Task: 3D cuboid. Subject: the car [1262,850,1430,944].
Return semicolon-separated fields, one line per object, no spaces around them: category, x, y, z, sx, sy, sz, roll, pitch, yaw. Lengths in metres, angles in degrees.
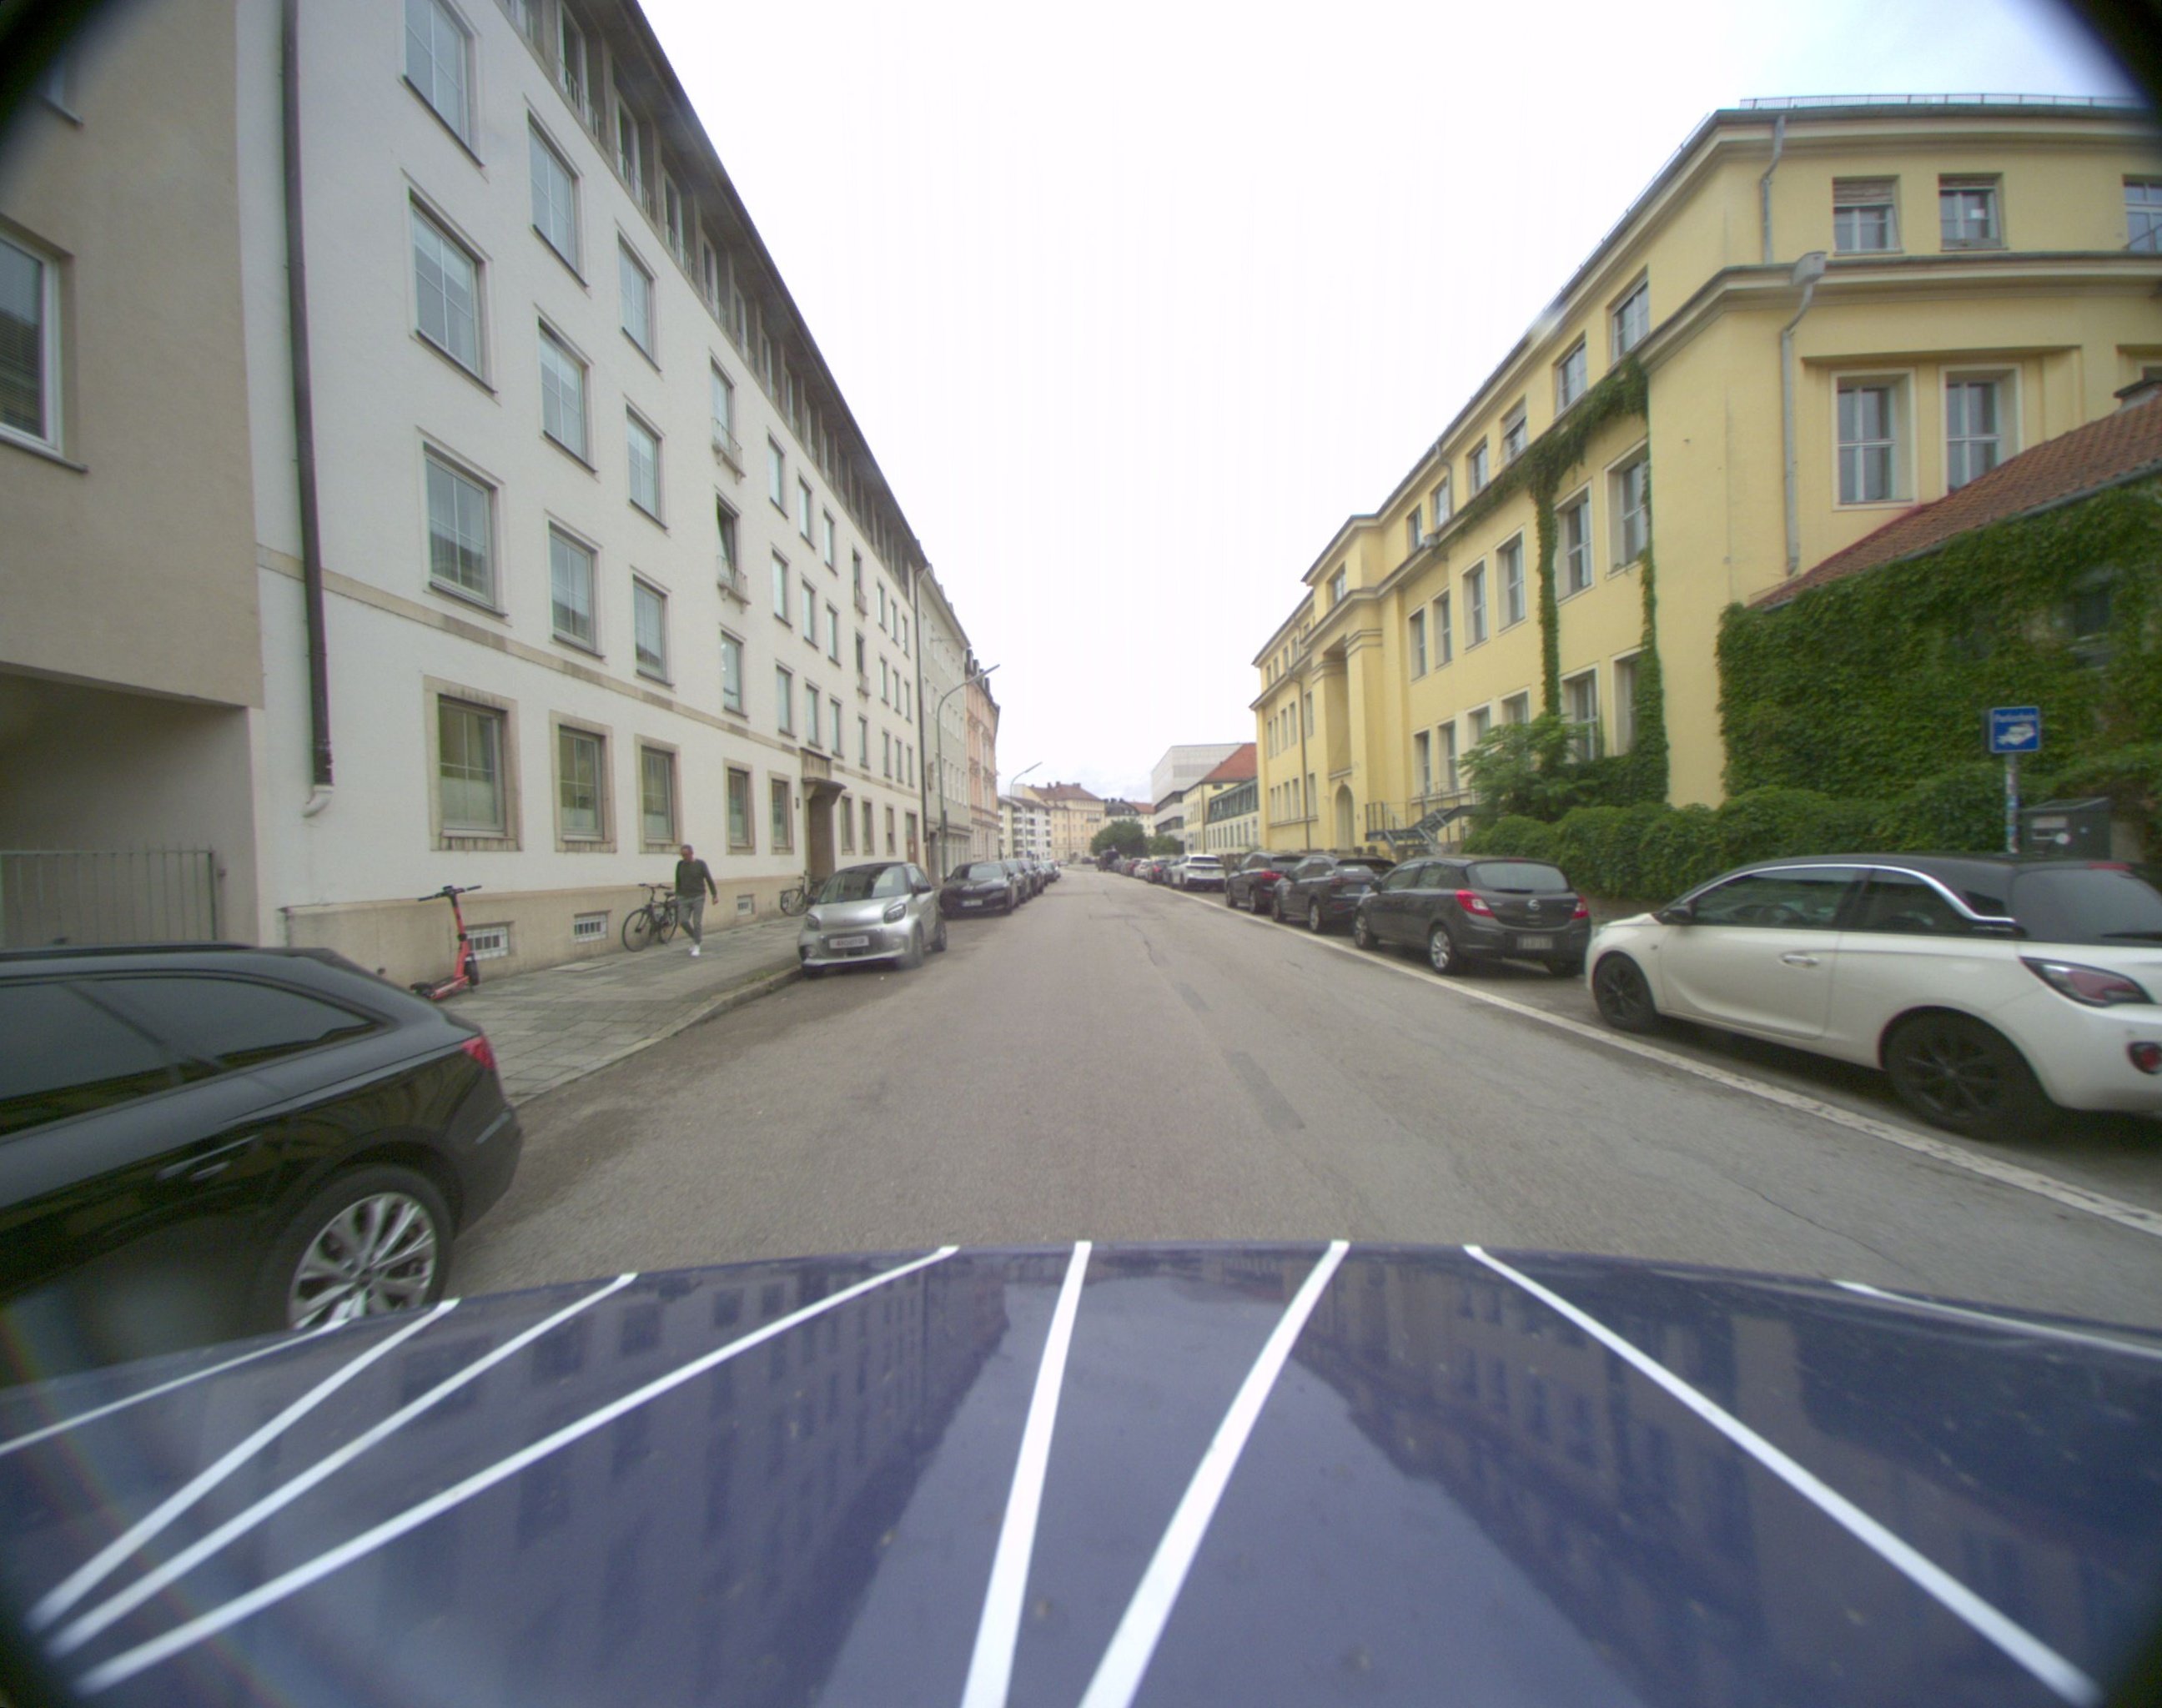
car;5.124;0.734;15.392;1.729;1.620;4.465;0;0;-1

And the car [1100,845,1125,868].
car;4.032;0.322;98.911;2.220;2.837;6.192;0;0;-8

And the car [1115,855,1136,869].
car;5.153;0.933;87.890;1.919;1.578;4.351;1;-1;-3

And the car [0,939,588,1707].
car;-3.023;1.135;0.837;1.750;1.380;4.952;-4;0;-2

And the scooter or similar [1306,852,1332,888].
scooter or similar;9.314;0.598;29.783;0.561;1.361;1.501;-2;0;1

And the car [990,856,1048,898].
car;-2.545;0.913;32.056;1.844;1.513;4.709;-4;0;2

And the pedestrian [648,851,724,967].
pedestrian;-6.218;0.835;12.010;0.724;1.753;0.904;1;2;1

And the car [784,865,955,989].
car;-3.074;1.000;11.631;1.654;1.486;2.881;-5;0;1

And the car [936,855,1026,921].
car;-2.740;0.872;21.934;1.807;1.476;5.319;-5;0;0

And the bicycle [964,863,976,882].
bicycle;-6.977;1.143;47.772;0.396;1.170;1.815;-3;0;0

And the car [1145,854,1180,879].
car;5.242;0.787;49.362;1.789;1.423;4.651;-3;0;0

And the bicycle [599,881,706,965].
bicycle;-7.208;1.114;12.907;0.531;1.211;2.103;-3;0;1

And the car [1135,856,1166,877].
car;5.154;0.883;56.943;1.798;1.421;4.664;1;0;-2

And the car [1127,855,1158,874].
car;5.014;0.813;62.632;1.963;1.473;4.528;0;0;-2

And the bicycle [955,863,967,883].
bicycle;-7.200;1.154;45.778;0.385;1.151;1.949;-2;0;0

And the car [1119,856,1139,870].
car;5.229;0.965;83.128;1.918;1.473;4.532;1;0;1

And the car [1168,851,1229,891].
car;5.171;0.707;34.053;1.750;1.624;4.855;-1;0;-2

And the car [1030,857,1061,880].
car;-2.390;0.969;52.233;1.691;1.394;4.364;-3;0;2

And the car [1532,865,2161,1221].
car;5.151;0.833;5.244;1.595;1.433;4.018;0;0;-1

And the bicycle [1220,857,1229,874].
bicycle;9.704;0.788;51.469;0.538;1.056;1.641;-2;0;10

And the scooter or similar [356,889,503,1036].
scooter or similar;-7.219;1.140;8.510;0.441;1.351;1.588;-3;3;-11

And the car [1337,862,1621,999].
car;5.107;0.868;10.499;1.608;1.422;4.250;1;0;-1

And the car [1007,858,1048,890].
car;-2.701;1.000;39.373;1.677;1.421;4.530;-4;0;1

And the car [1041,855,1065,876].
car;-2.567;1.000;68.034;1.686;1.663;3.802;-4;0;-8

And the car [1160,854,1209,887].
car;5.247;0.815;39.021;1.708;1.493;4.494;3;0;-1

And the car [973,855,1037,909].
car;-2.616;0.919;27.189;1.649;1.580;4.634;-5;0;1

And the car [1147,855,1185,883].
car;4.870;0.825;44.131;1.703;1.488;4.148;2;0;0

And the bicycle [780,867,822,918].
bicycle;-7.304;0.975;19.897;0.514;1.215;1.987;-2;0;-7

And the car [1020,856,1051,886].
car;-2.698;0.983;45.569;1.711;1.583;4.360;-4;0;-3

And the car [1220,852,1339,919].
car;5.148;0.731;20.428;1.794;1.577;4.817;1;0;-2

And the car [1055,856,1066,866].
car;-4.292;1.484;157.442;1.921;1.836;5.320;-1;-3;-7
